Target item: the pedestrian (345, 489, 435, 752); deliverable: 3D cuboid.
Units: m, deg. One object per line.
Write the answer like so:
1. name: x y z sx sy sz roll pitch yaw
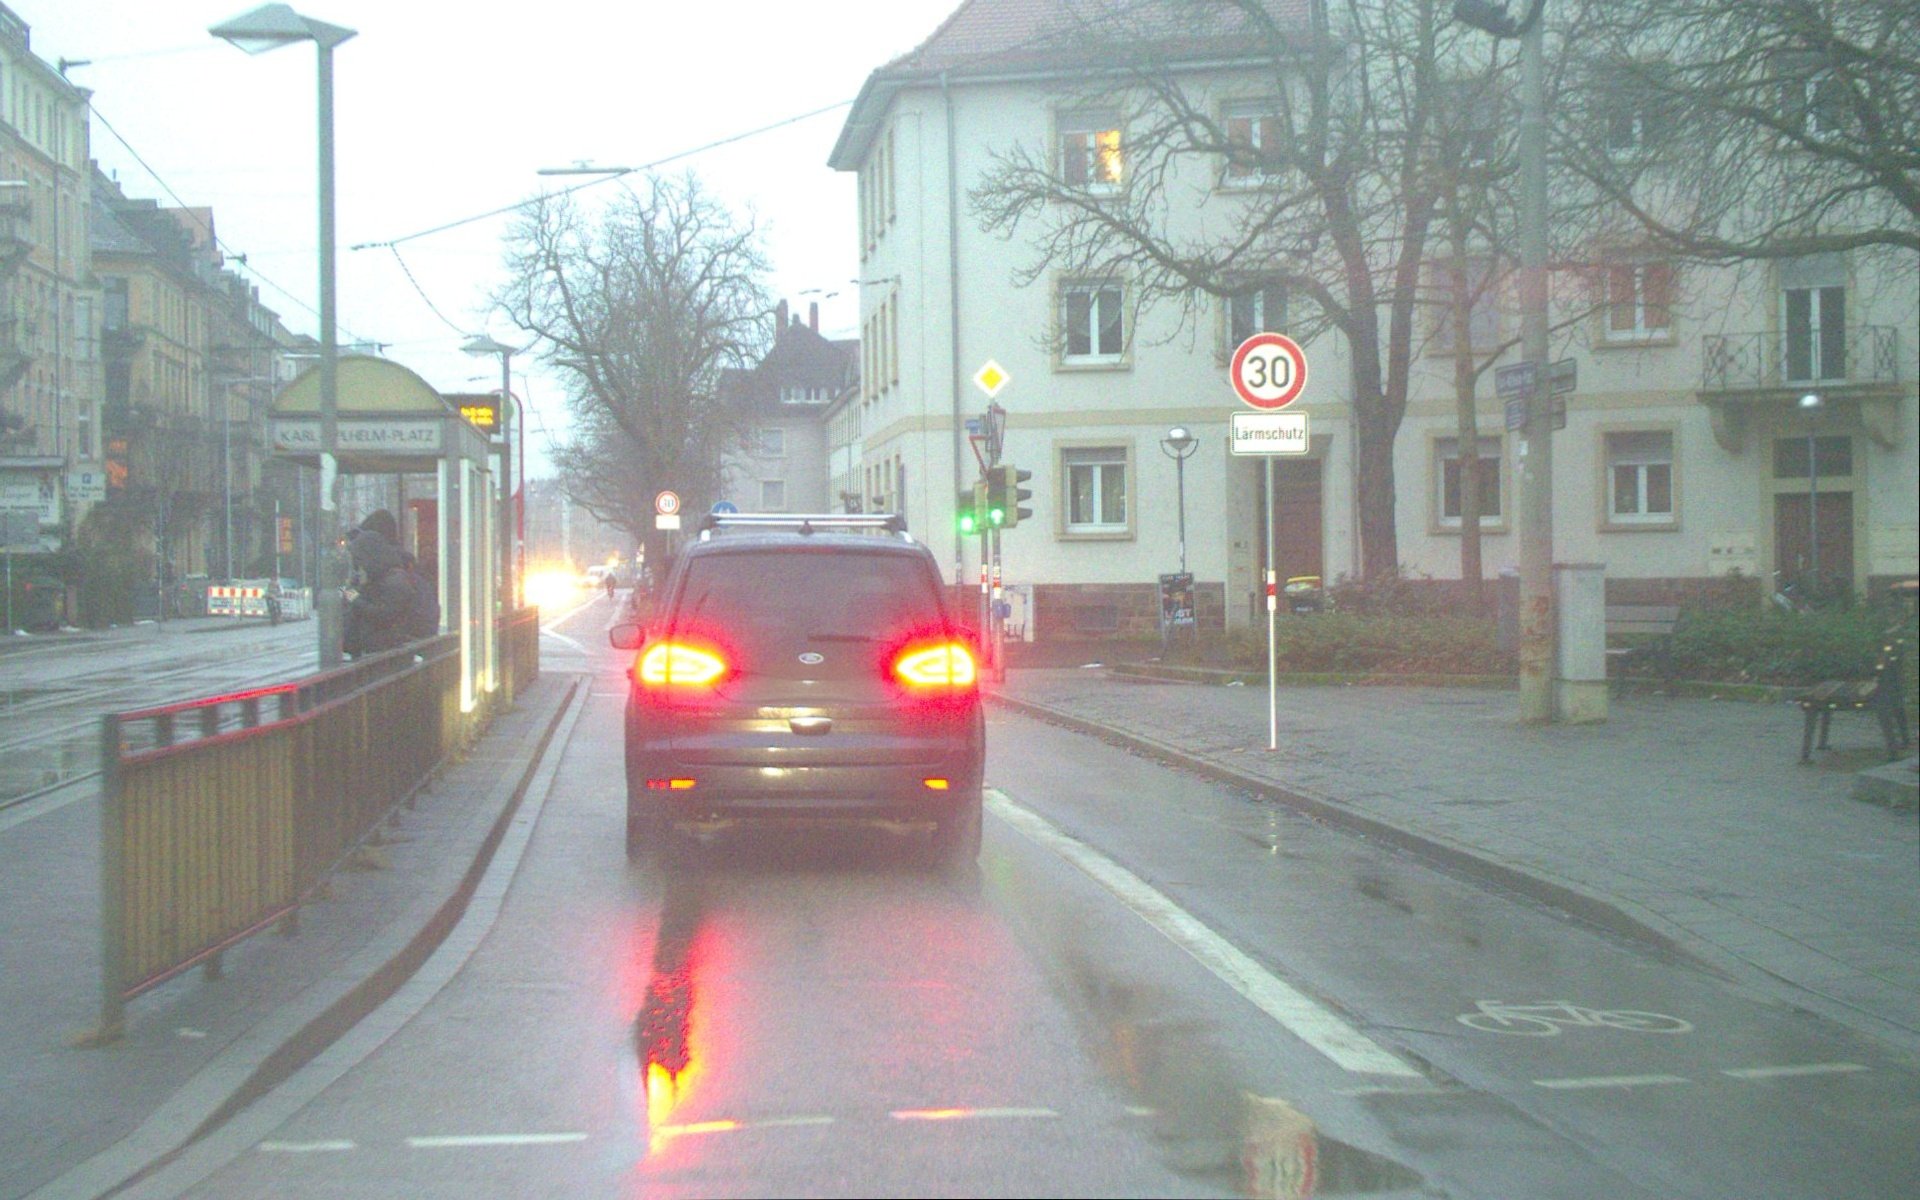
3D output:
1. pedestrian: -4.380 0.156 26.447 0.557 1.980 0.571 2 0 -5

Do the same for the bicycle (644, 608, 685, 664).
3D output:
1. bicycle: -5.372 0.648 62.586 0.731 1.003 1.764 0 0 -4

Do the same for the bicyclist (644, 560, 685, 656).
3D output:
1. bicyclist: -5.393 0.139 62.706 0.730 1.731 0.766 0 0 -4

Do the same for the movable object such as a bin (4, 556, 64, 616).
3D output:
1. movable object such as a bin: -24.730 -0.363 91.871 1.244 1.580 1.308 1 0 0

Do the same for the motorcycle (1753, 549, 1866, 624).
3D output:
1. motorcycle: 12.912 -0.210 52.263 0.568 1.101 1.602 -4 3 -41

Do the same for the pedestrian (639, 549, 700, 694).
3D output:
1. pedestrian: -3.918 0.287 46.417 0.715 1.911 0.689 2 0 -3

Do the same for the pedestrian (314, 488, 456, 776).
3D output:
1. pedestrian: -3.997 0.222 23.927 0.853 1.949 0.571 2 0 -4

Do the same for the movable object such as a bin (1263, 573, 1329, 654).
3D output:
1. movable object such as a bin: 5.378 0.217 55.001 0.853 1.247 0.521 2 0 37

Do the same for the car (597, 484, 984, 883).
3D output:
1. car: -0.954 0.398 18.691 1.801 1.864 4.018 2 0 -4

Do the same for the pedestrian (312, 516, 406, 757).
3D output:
1. pedestrian: -4.424 0.267 25.326 0.557 1.735 0.571 2 0 -5
